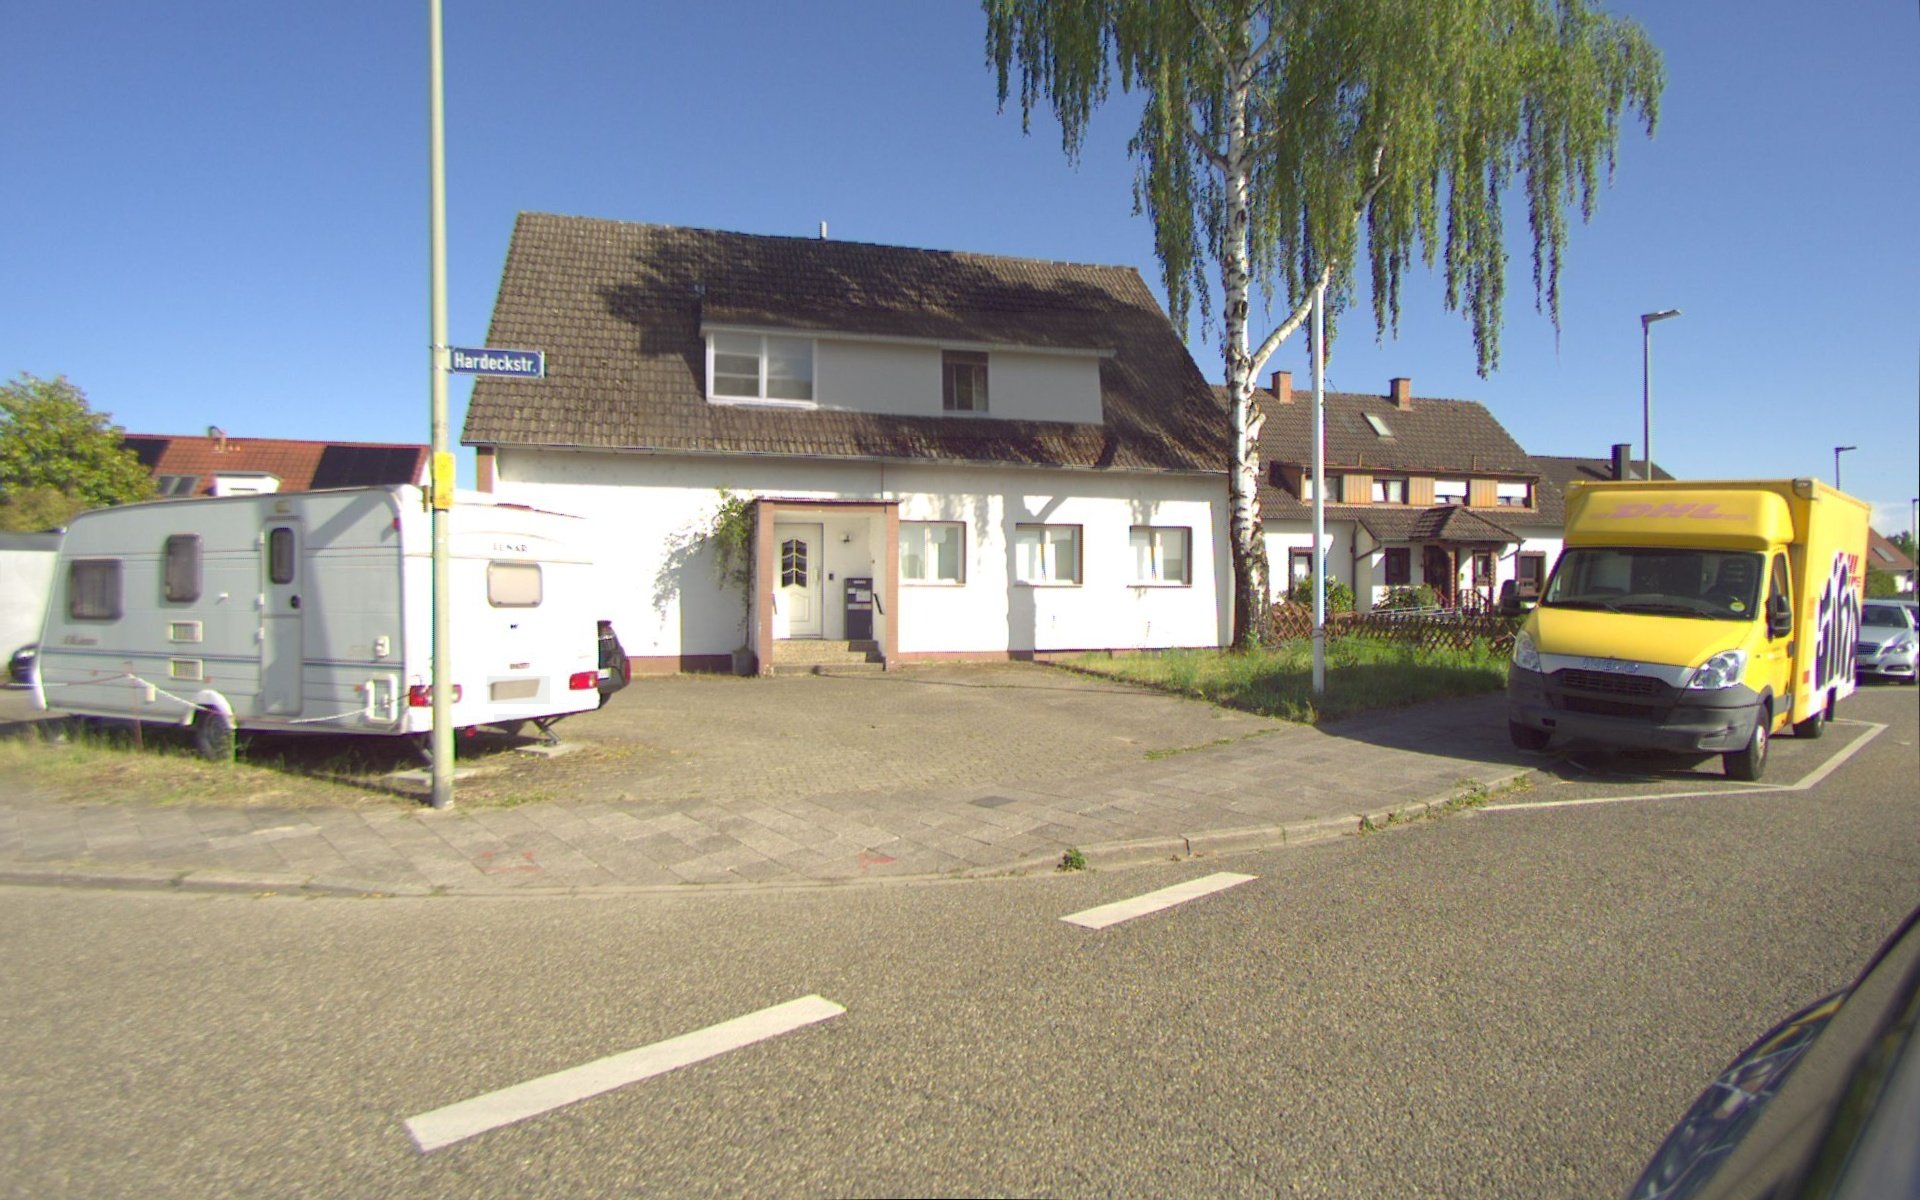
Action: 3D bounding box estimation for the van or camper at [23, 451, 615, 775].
[{"bbox_3d":[-6.520,0.079,10.237,5.767,2.573,2.272,0,0,24],"label":"van or camper"}]

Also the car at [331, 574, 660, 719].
[{"bbox_3d":[-6.030,0.511,13.128,3.958,1.638,1.795,0,0,26],"label":"car"}]

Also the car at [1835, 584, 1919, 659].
[{"bbox_3d":[21.223,0.442,22.713,3.969,1.562,1.678,0,0,-38],"label":"car"}]

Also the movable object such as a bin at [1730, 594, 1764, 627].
[{"bbox_3d":[25.550,0.338,32.860,0.737,1.066,0.526,0,0,-17],"label":"movable object such as a bin"}]

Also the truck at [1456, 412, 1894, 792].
[{"bbox_3d":[8.153,-0.077,11.120,6.896,2.972,2.407,-1,3,-42],"label":"truck"}]

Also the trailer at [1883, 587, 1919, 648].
[{"bbox_3d":[25.847,0.432,26.867,3.142,1.557,1.630,0,0,-41],"label":"trailer"}]

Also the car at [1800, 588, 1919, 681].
[{"bbox_3d":[17.270,0.562,19.120,1.784,1.561,4.464,0,0,45],"label":"car"}]

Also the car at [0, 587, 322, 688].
[{"bbox_3d":[-14.628,0.597,18.727,4.552,1.455,1.718,-4,3,-41],"label":"car"}]
